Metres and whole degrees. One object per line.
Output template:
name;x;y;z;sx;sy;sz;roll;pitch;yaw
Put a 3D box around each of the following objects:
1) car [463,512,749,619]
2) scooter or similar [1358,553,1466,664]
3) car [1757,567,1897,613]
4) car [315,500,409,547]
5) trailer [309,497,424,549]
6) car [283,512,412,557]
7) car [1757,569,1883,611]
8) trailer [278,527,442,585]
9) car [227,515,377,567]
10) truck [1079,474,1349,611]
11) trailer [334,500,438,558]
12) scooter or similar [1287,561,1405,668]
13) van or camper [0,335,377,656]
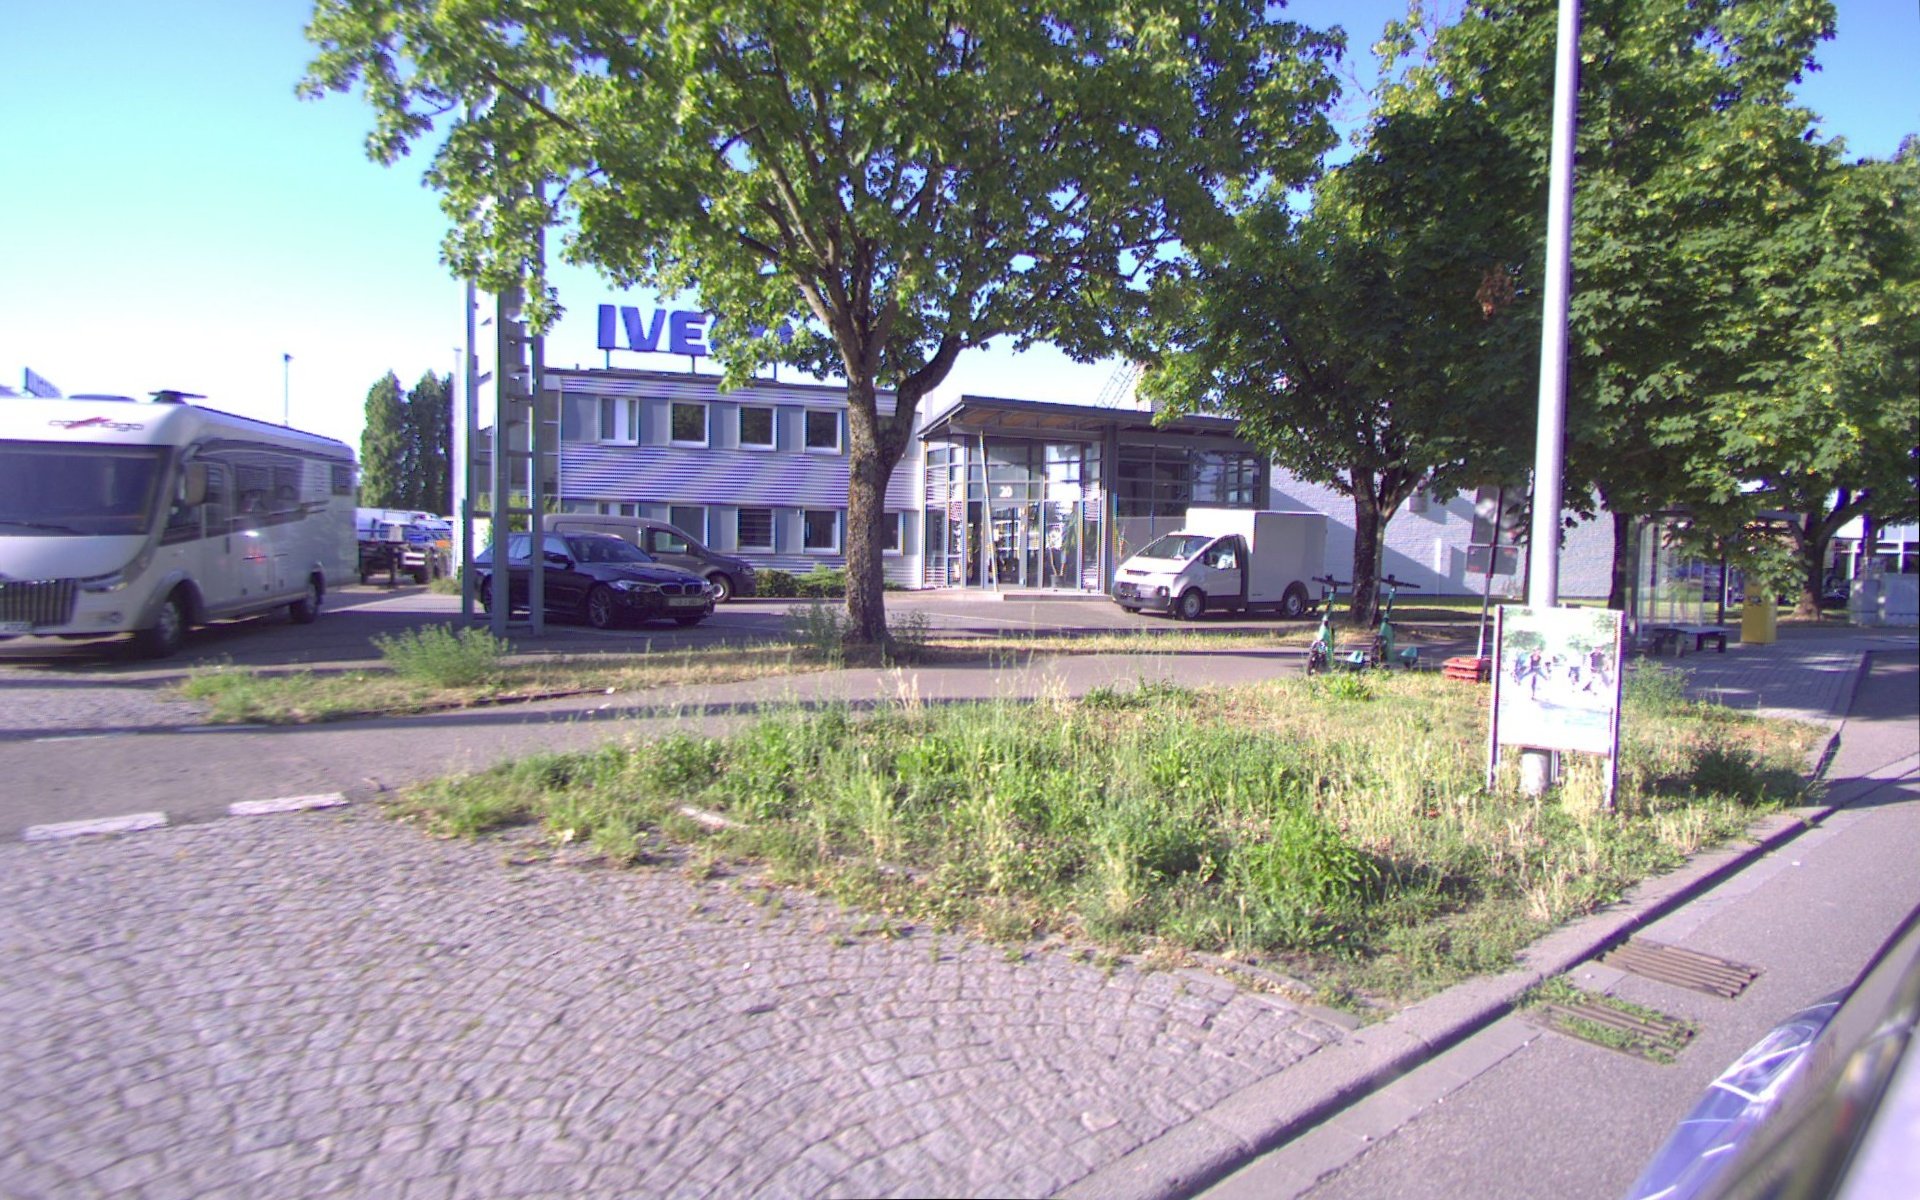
car;-5.854;-0.636;16.523;4.781;1.509;1.976;3;3;34
scooter or similar;5.841;0.085;13.049;1.453;1.352;0.548;0;3;-34
car;42.910;-0.548;50.252;2.252;2.038;4.858;1;3;-10
car;-31.829;-4.054;53.989;3.916;2.305;2.094;0;3;-17
trailer;-30.413;-3.924;52.023;4.755;2.466;2.005;0;3;-17
car;-29.338;-3.112;48.664;4.945;2.039;2.004;0;0;-18
car;45.888;-0.596;54.163;2.254;2.038;4.854;1;3;-5
trailer;-15.632;-1.186;26.786;2.501;1.338;5.668;0;3;-18
car;-27.673;-2.454;42.758;4.945;2.039;2.004;0;0;-18
truck;5.838;-1.232;23.022;5.854;2.753;2.549;0;3;-32
trailer;-32.342;-3.964;57.175;4.755;3.106;2.005;0;3;-17
scooter or similar;4.640;0.151;12.143;1.453;1.211;0.548;0;3;-34
van or camper;-10.198;-1.180;13.049;2.880;2.935;8.033;0;3;-17
